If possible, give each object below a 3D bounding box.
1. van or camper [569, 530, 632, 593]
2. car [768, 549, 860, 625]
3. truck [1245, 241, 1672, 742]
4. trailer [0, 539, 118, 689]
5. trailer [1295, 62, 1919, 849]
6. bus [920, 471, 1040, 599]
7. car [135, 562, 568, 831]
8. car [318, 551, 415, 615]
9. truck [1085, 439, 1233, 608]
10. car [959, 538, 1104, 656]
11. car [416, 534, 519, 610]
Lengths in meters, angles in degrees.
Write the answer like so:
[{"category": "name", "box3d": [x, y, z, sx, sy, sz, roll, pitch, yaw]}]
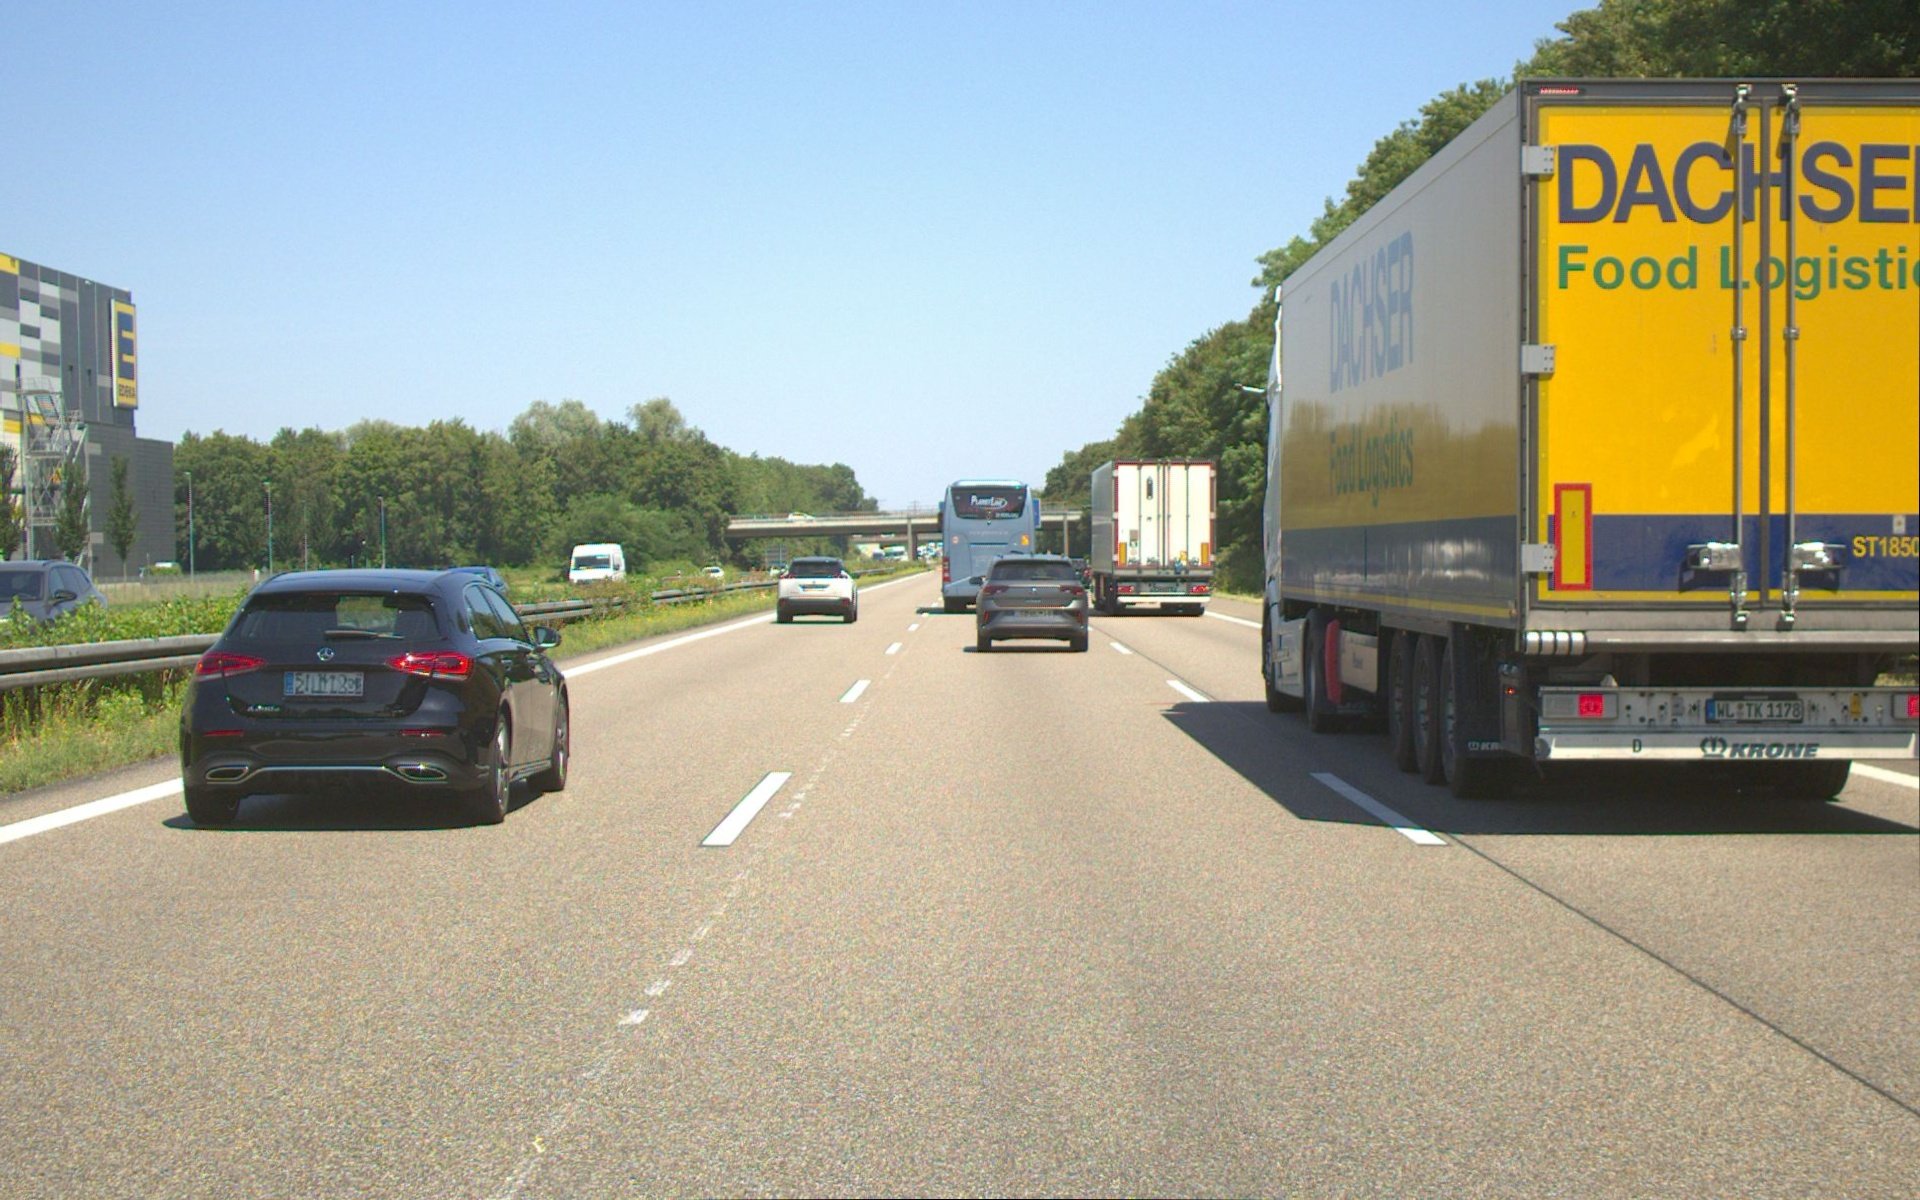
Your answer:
[{"category": "van or camper", "box3d": [-16.281, -1.771, 156.081, 2.056, 2.770, 6.966, -2, 1, 0]}, {"category": "car", "box3d": [-3.393, -0.334, 80.587, 1.993, 1.722, 4.131, 0, 1, -1]}, {"category": "truck", "box3d": [4.277, -0.924, 30.938, 2.813, 3.993, 6.645, -1, 1, 0]}, {"category": "trailer", "box3d": [-12.318, 0.148, 43.784, 1.944, 1.783, 5.238, -2, 1, -1]}, {"category": "trailer", "box3d": [4.250, -0.833, 23.104, 2.834, 3.940, 11.684, 0, 1, 0]}, {"category": "bus", "box3d": [0.491, -1.796, 95.847, 3.062, 3.315, 8.275, -2, 1, -1]}, {"category": "car", "box3d": [-3.496, 0.498, 20.468, 1.792, 1.407, 4.052, 1, 1, 1]}, {"category": "car", "box3d": [-16.518, -0.504, 95.822, 1.851, 1.606, 4.836, -4, 1, -1]}, {"category": "truck", "box3d": [5.123, -1.978, 90.383, 3.423, 4.112, 9.564, -2, 1, 1]}, {"category": "car", "box3d": [1.104, -0.091, 56.029, 2.216, 1.784, 5.393, -1, 1, 0]}, {"category": "car", "box3d": [-12.075, -0.704, 84.562, 1.911, 1.782, 4.482, -2, 1, -1]}]
